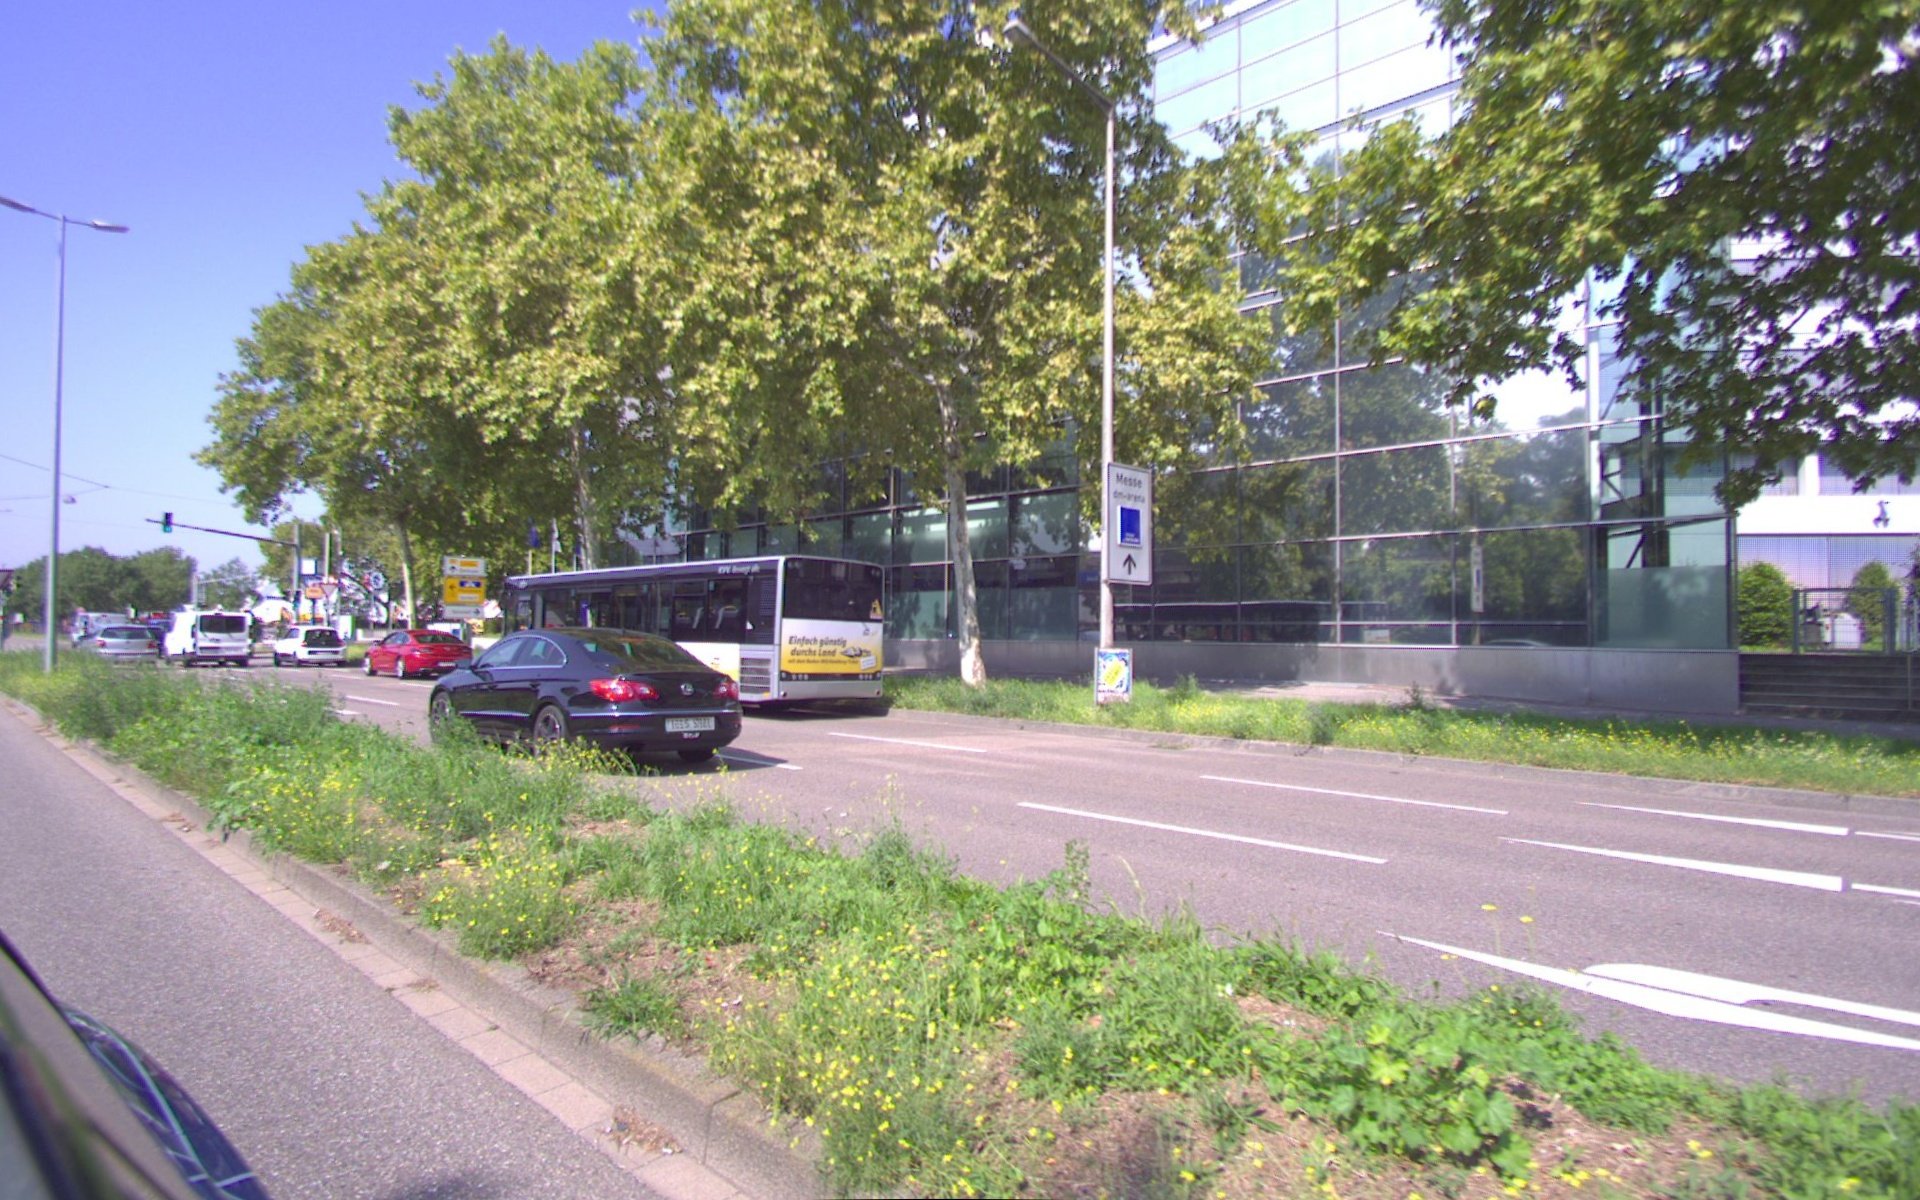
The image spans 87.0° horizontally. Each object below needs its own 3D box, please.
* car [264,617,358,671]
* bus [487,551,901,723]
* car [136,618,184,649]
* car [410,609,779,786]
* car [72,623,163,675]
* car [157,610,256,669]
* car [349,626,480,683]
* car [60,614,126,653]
[{"bbox_3d":[-24.493,1.654,38.167,3.975,1.910,1.907,-1,-4,42],"label":"car"},{"bbox_3d":[-5.969,0.730,20.632,10.905,2.715,2.633,-1,-4,43],"label":"bus"},{"bbox_3d":[-46.385,1.949,58.655,3.733,1.546,1.648,3,-1,45],"label":"car"},{"bbox_3d":[-4.101,0.915,10.898,4.644,1.501,1.825,-1,-4,44],"label":"car"},{"bbox_3d":[-26.814,1.573,32.169,4.100,1.547,1.597,-3,-5,42],"label":"car"},{"bbox_3d":[-27.168,1.448,36.425,5.189,1.975,1.906,-2,-5,43],"label":"car"},{"bbox_3d":[-16.294,1.599,30.103,5.212,1.522,1.760,-1,-4,43],"label":"car"},{"bbox_3d":[-45.242,1.787,52.789,5.211,1.973,1.906,-3,-4,42],"label":"car"}]
